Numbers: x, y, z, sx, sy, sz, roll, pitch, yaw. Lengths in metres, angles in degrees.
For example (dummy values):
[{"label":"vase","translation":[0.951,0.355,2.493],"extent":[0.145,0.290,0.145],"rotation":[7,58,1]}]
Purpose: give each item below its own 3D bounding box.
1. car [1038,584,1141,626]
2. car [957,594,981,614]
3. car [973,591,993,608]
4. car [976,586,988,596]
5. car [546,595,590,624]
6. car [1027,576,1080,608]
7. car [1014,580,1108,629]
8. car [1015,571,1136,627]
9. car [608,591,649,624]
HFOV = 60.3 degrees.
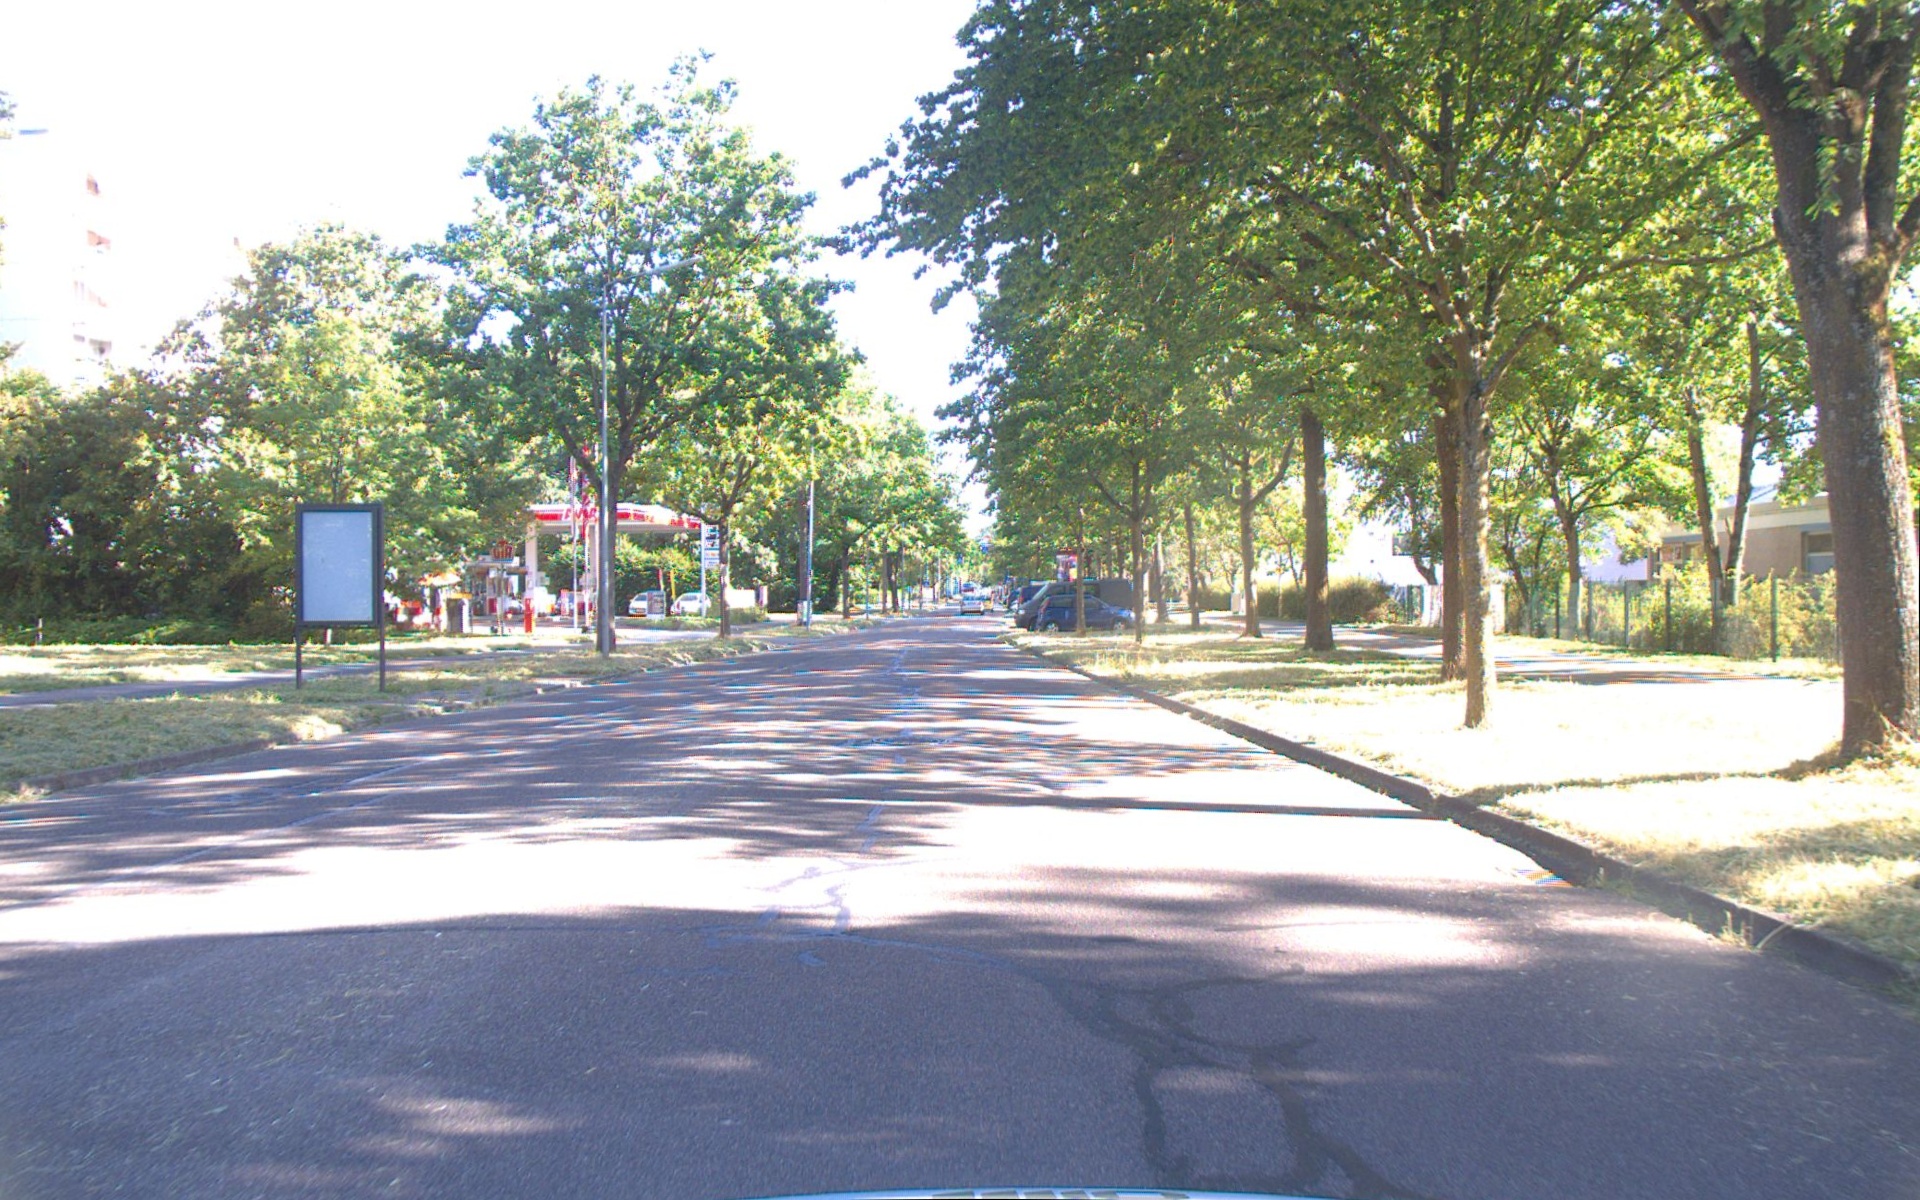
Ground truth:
[{"label":"car","translation":[4.648,0.191,59.542],"extent":[3.578,1.422,1.317],"rotation":[-1,-1,0]},{"label":"car","translation":[0.627,0.315,118.879],"extent":[1.627,1.360,3.664],"rotation":[-1,-1,0]},{"label":"car","translation":[1.914,-0.016,140.235],"extent":[1.627,1.360,3.664],"rotation":[-1,-1,0]},{"label":"car","translation":[3.183,-1.375,241.459],"extent":[1.627,1.360,3.664],"rotation":[-1,-1,0]},{"label":"car","translation":[-23.760,0.595,100.364],"extent":[1.764,1.649,3.804],"rotation":[-1,-1,-1]},{"label":"car","translation":[6.338,-0.558,112.266],"extent":[3.494,2.087,1.633],"rotation":[-1,-1,0]},{"label":"car","translation":[3.958,0.172,65.014],"extent":[3.578,1.829,1.317],"rotation":[-1,-1,0]},{"label":"car","translation":[4.340,-0.027,62.525],"extent":[4.410,1.987,1.687],"rotation":[-1,-1,0]},{"label":"car","translation":[-19.586,0.466,97.837],"extent":[1.765,1.855,3.804],"rotation":[-1,-1,-1]}]
